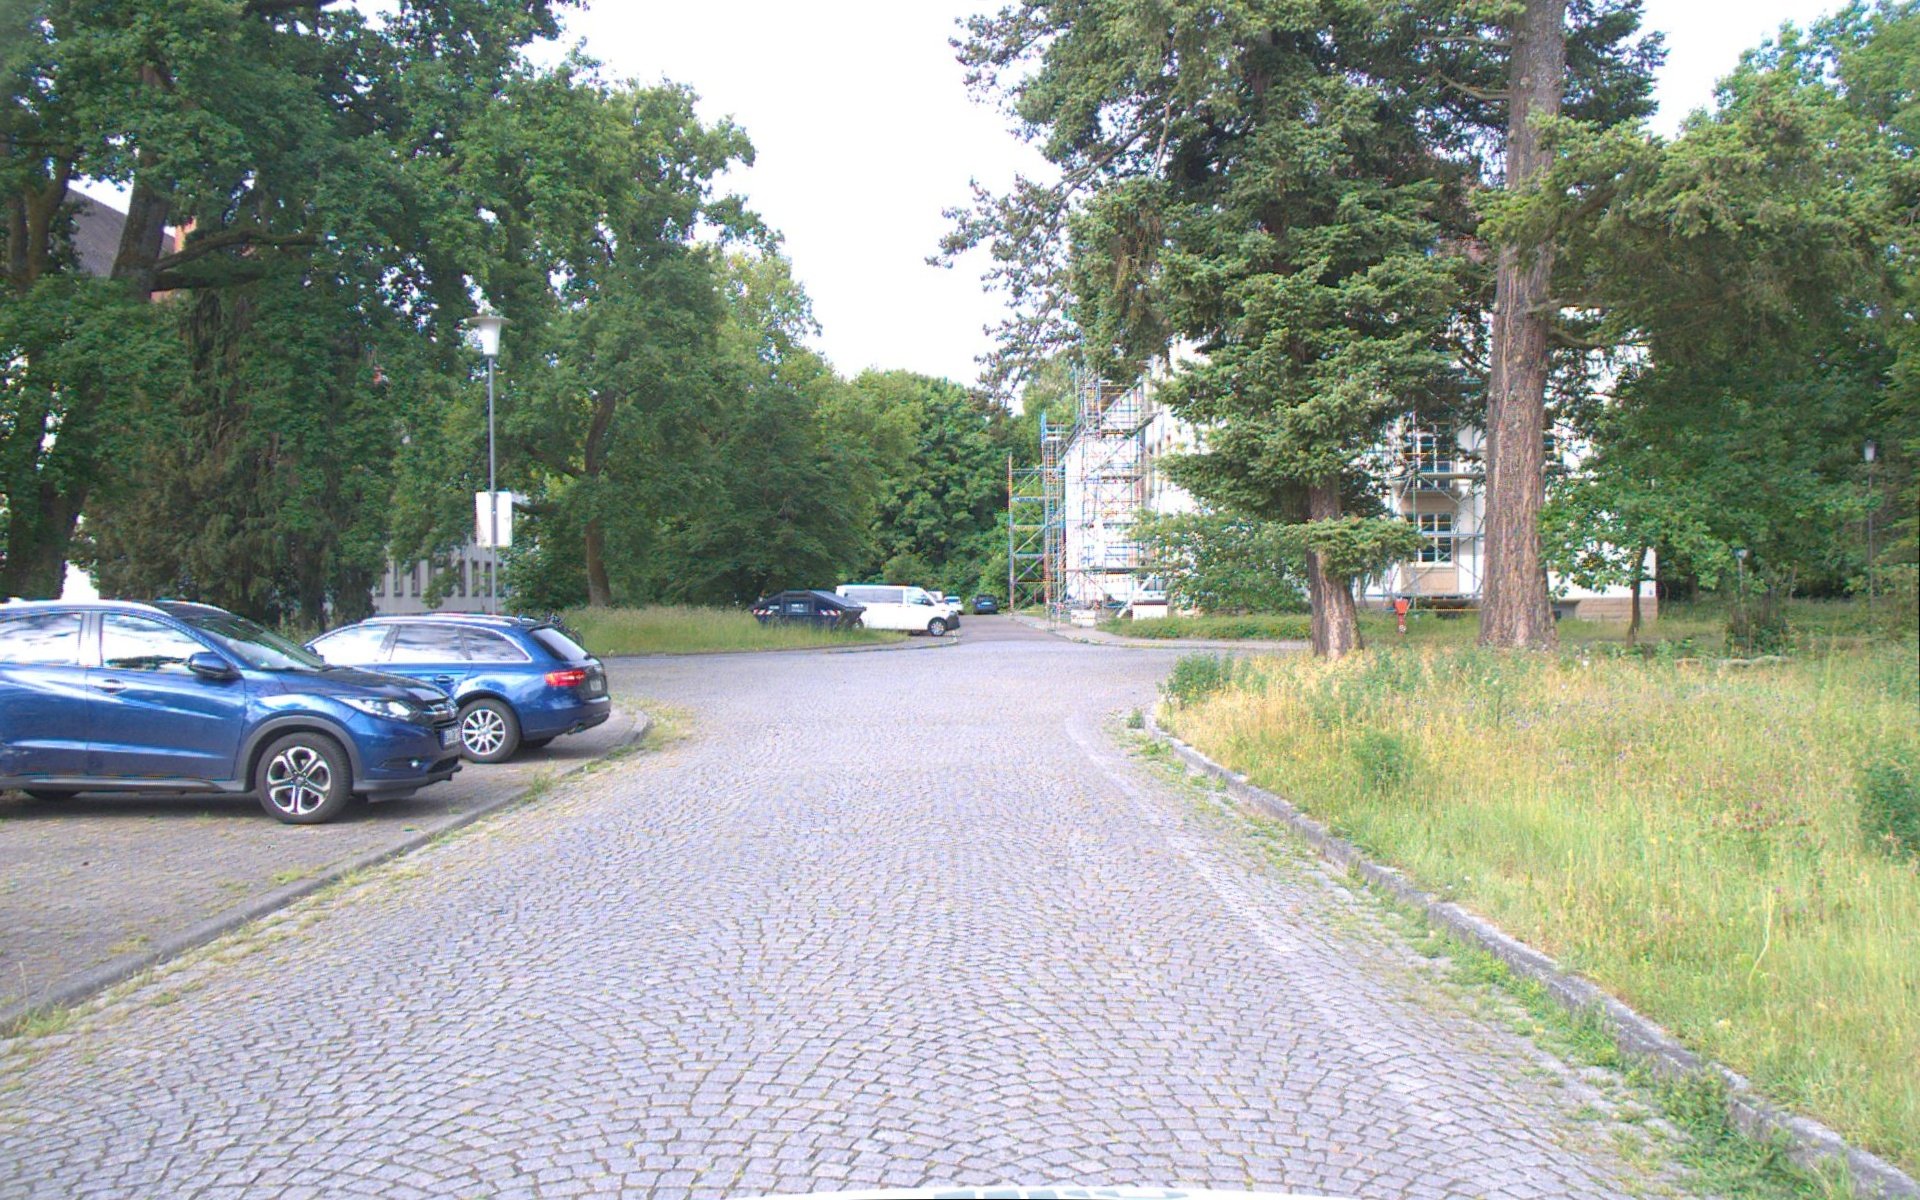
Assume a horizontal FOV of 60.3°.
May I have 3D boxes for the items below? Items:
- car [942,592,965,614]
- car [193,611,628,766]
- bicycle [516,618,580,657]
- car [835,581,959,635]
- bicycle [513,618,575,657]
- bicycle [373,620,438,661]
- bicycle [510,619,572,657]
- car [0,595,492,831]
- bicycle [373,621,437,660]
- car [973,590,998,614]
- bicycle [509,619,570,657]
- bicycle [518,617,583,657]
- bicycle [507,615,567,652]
[{"bbox_3d":[-0.527,0.277,132.437,1.754,1.665,4.059,-1,-1,-2],"label":"car"},{"bbox_3d":[-5.672,0.894,17.353,3.986,1.493,1.626,-1,0,3],"label":"car"},{"bbox_3d":[-11.540,1.046,46.341,1.677,1.072,0.571,-1,-2,-21],"label":"bicycle"},{"bbox_3d":[-2.513,0.332,66.367,4.877,2.109,2.051,0,-1,-2],"label":"car"},{"bbox_3d":[-11.878,1.074,47.231,1.677,1.072,0.571,-1,-2,-21],"label":"bicycle"},{"bbox_3d":[-15.416,1.125,46.001,1.677,1.072,0.571,-1,-2,-21],"label":"bicycle"},{"bbox_3d":[-12.148,1.096,47.953,1.677,1.072,0.571,-1,-2,-21],"label":"bicycle"},{"bbox_3d":[-5.828,0.806,12.654,3.989,1.632,1.787,-1,0,-2],"label":"car"},{"bbox_3d":[-15.614,1.141,46.545,1.677,1.072,0.571,-1,-2,-21],"label":"bicycle"},{"bbox_3d":[2.040,0.185,132.794,1.754,1.750,4.059,-1,-1,-2],"label":"car"},{"bbox_3d":[-12.350,1.114,48.560,1.677,1.072,0.571,-1,-2,-21],"label":"bicycle"},{"bbox_3d":[-11.327,1.029,45.781,1.677,1.072,0.571,-1,-2,-21],"label":"bicycle"},{"bbox_3d":[-12.641,0.992,49.414,1.677,1.072,0.571,-1,-2,-21],"label":"bicycle"}]
